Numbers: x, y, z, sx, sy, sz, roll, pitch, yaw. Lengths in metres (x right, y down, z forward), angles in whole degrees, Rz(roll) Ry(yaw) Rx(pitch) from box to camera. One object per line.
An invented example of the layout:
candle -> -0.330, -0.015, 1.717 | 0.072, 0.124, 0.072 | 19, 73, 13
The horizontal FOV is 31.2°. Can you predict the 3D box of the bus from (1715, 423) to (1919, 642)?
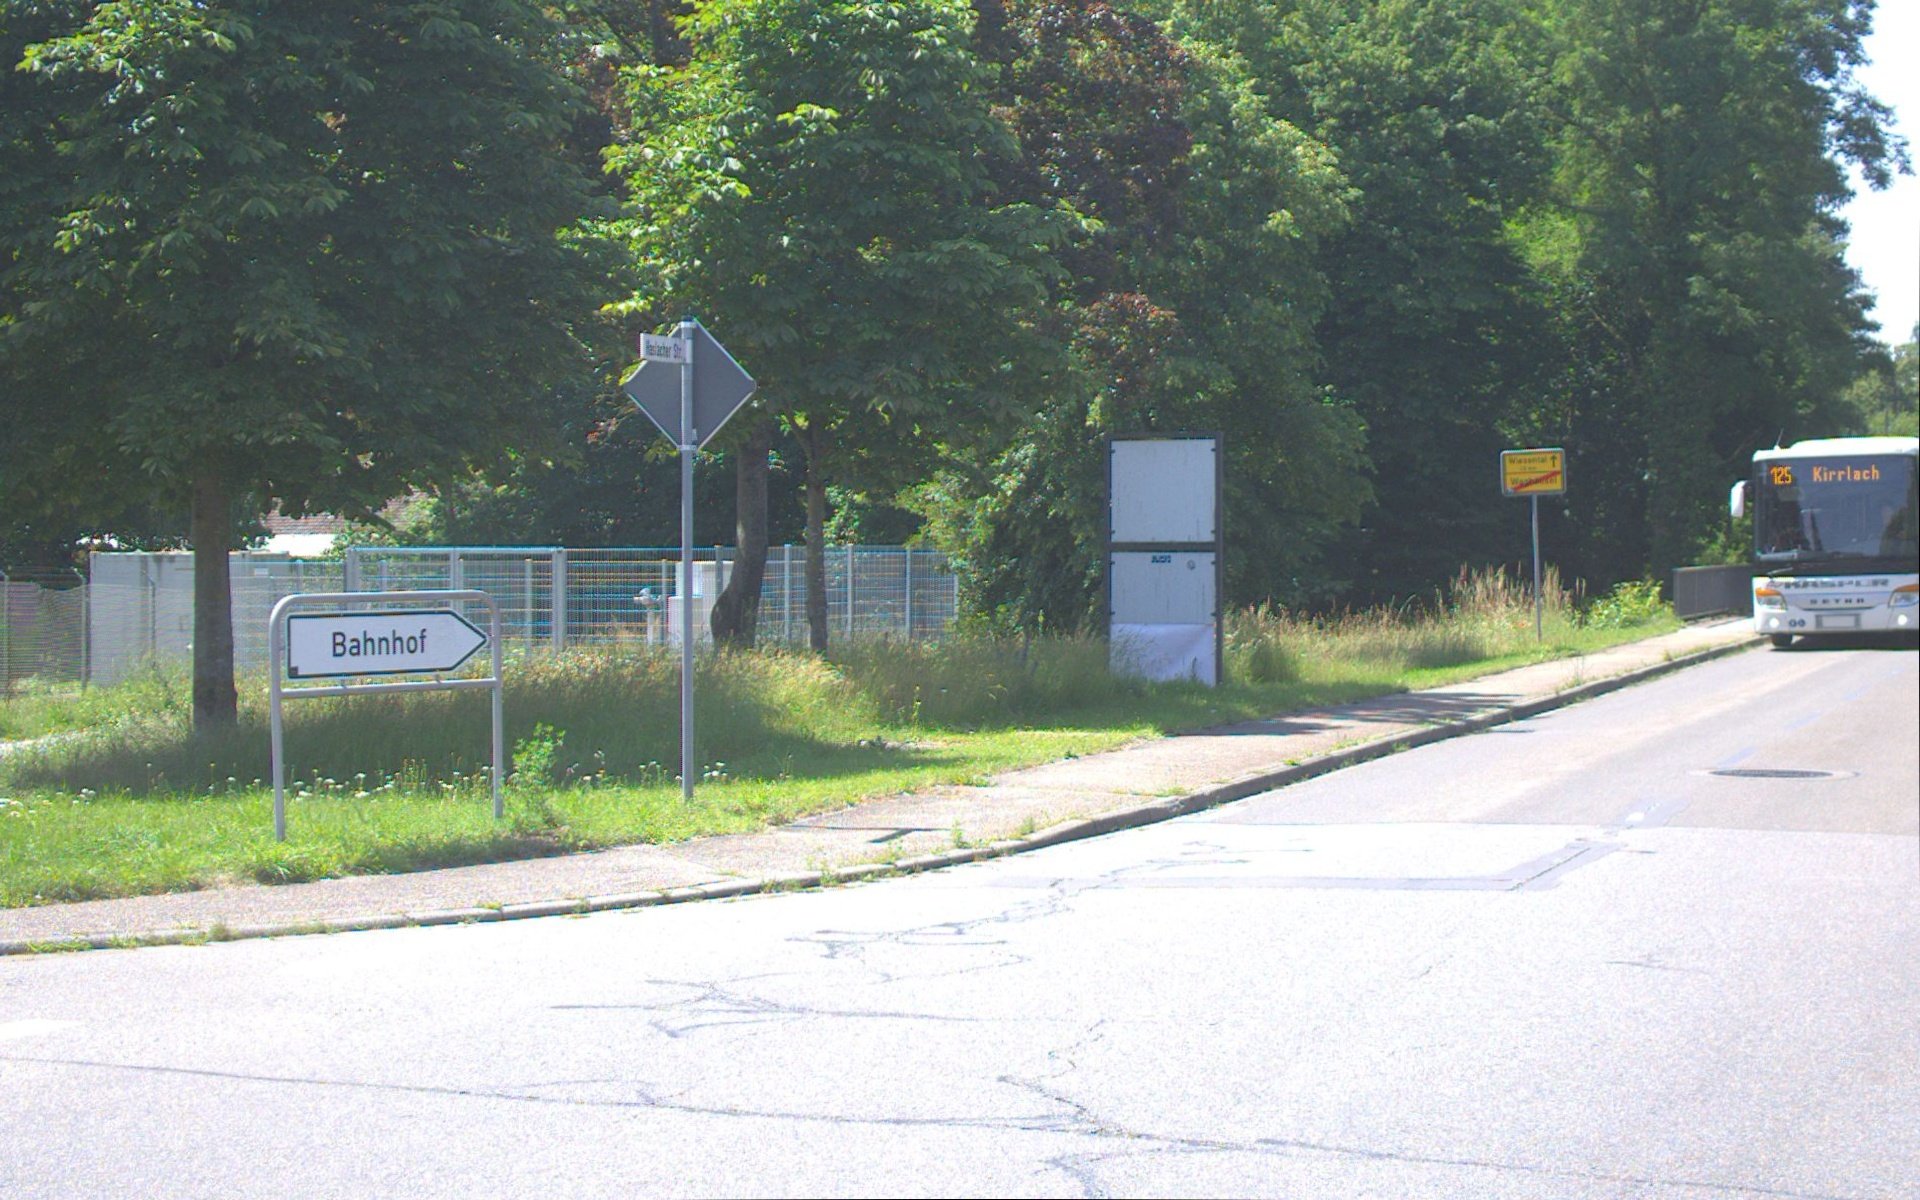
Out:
bus -> 15.092, -1.102, 57.298 | 3.184, 3.233, 12.699 | 0, 1, 20
